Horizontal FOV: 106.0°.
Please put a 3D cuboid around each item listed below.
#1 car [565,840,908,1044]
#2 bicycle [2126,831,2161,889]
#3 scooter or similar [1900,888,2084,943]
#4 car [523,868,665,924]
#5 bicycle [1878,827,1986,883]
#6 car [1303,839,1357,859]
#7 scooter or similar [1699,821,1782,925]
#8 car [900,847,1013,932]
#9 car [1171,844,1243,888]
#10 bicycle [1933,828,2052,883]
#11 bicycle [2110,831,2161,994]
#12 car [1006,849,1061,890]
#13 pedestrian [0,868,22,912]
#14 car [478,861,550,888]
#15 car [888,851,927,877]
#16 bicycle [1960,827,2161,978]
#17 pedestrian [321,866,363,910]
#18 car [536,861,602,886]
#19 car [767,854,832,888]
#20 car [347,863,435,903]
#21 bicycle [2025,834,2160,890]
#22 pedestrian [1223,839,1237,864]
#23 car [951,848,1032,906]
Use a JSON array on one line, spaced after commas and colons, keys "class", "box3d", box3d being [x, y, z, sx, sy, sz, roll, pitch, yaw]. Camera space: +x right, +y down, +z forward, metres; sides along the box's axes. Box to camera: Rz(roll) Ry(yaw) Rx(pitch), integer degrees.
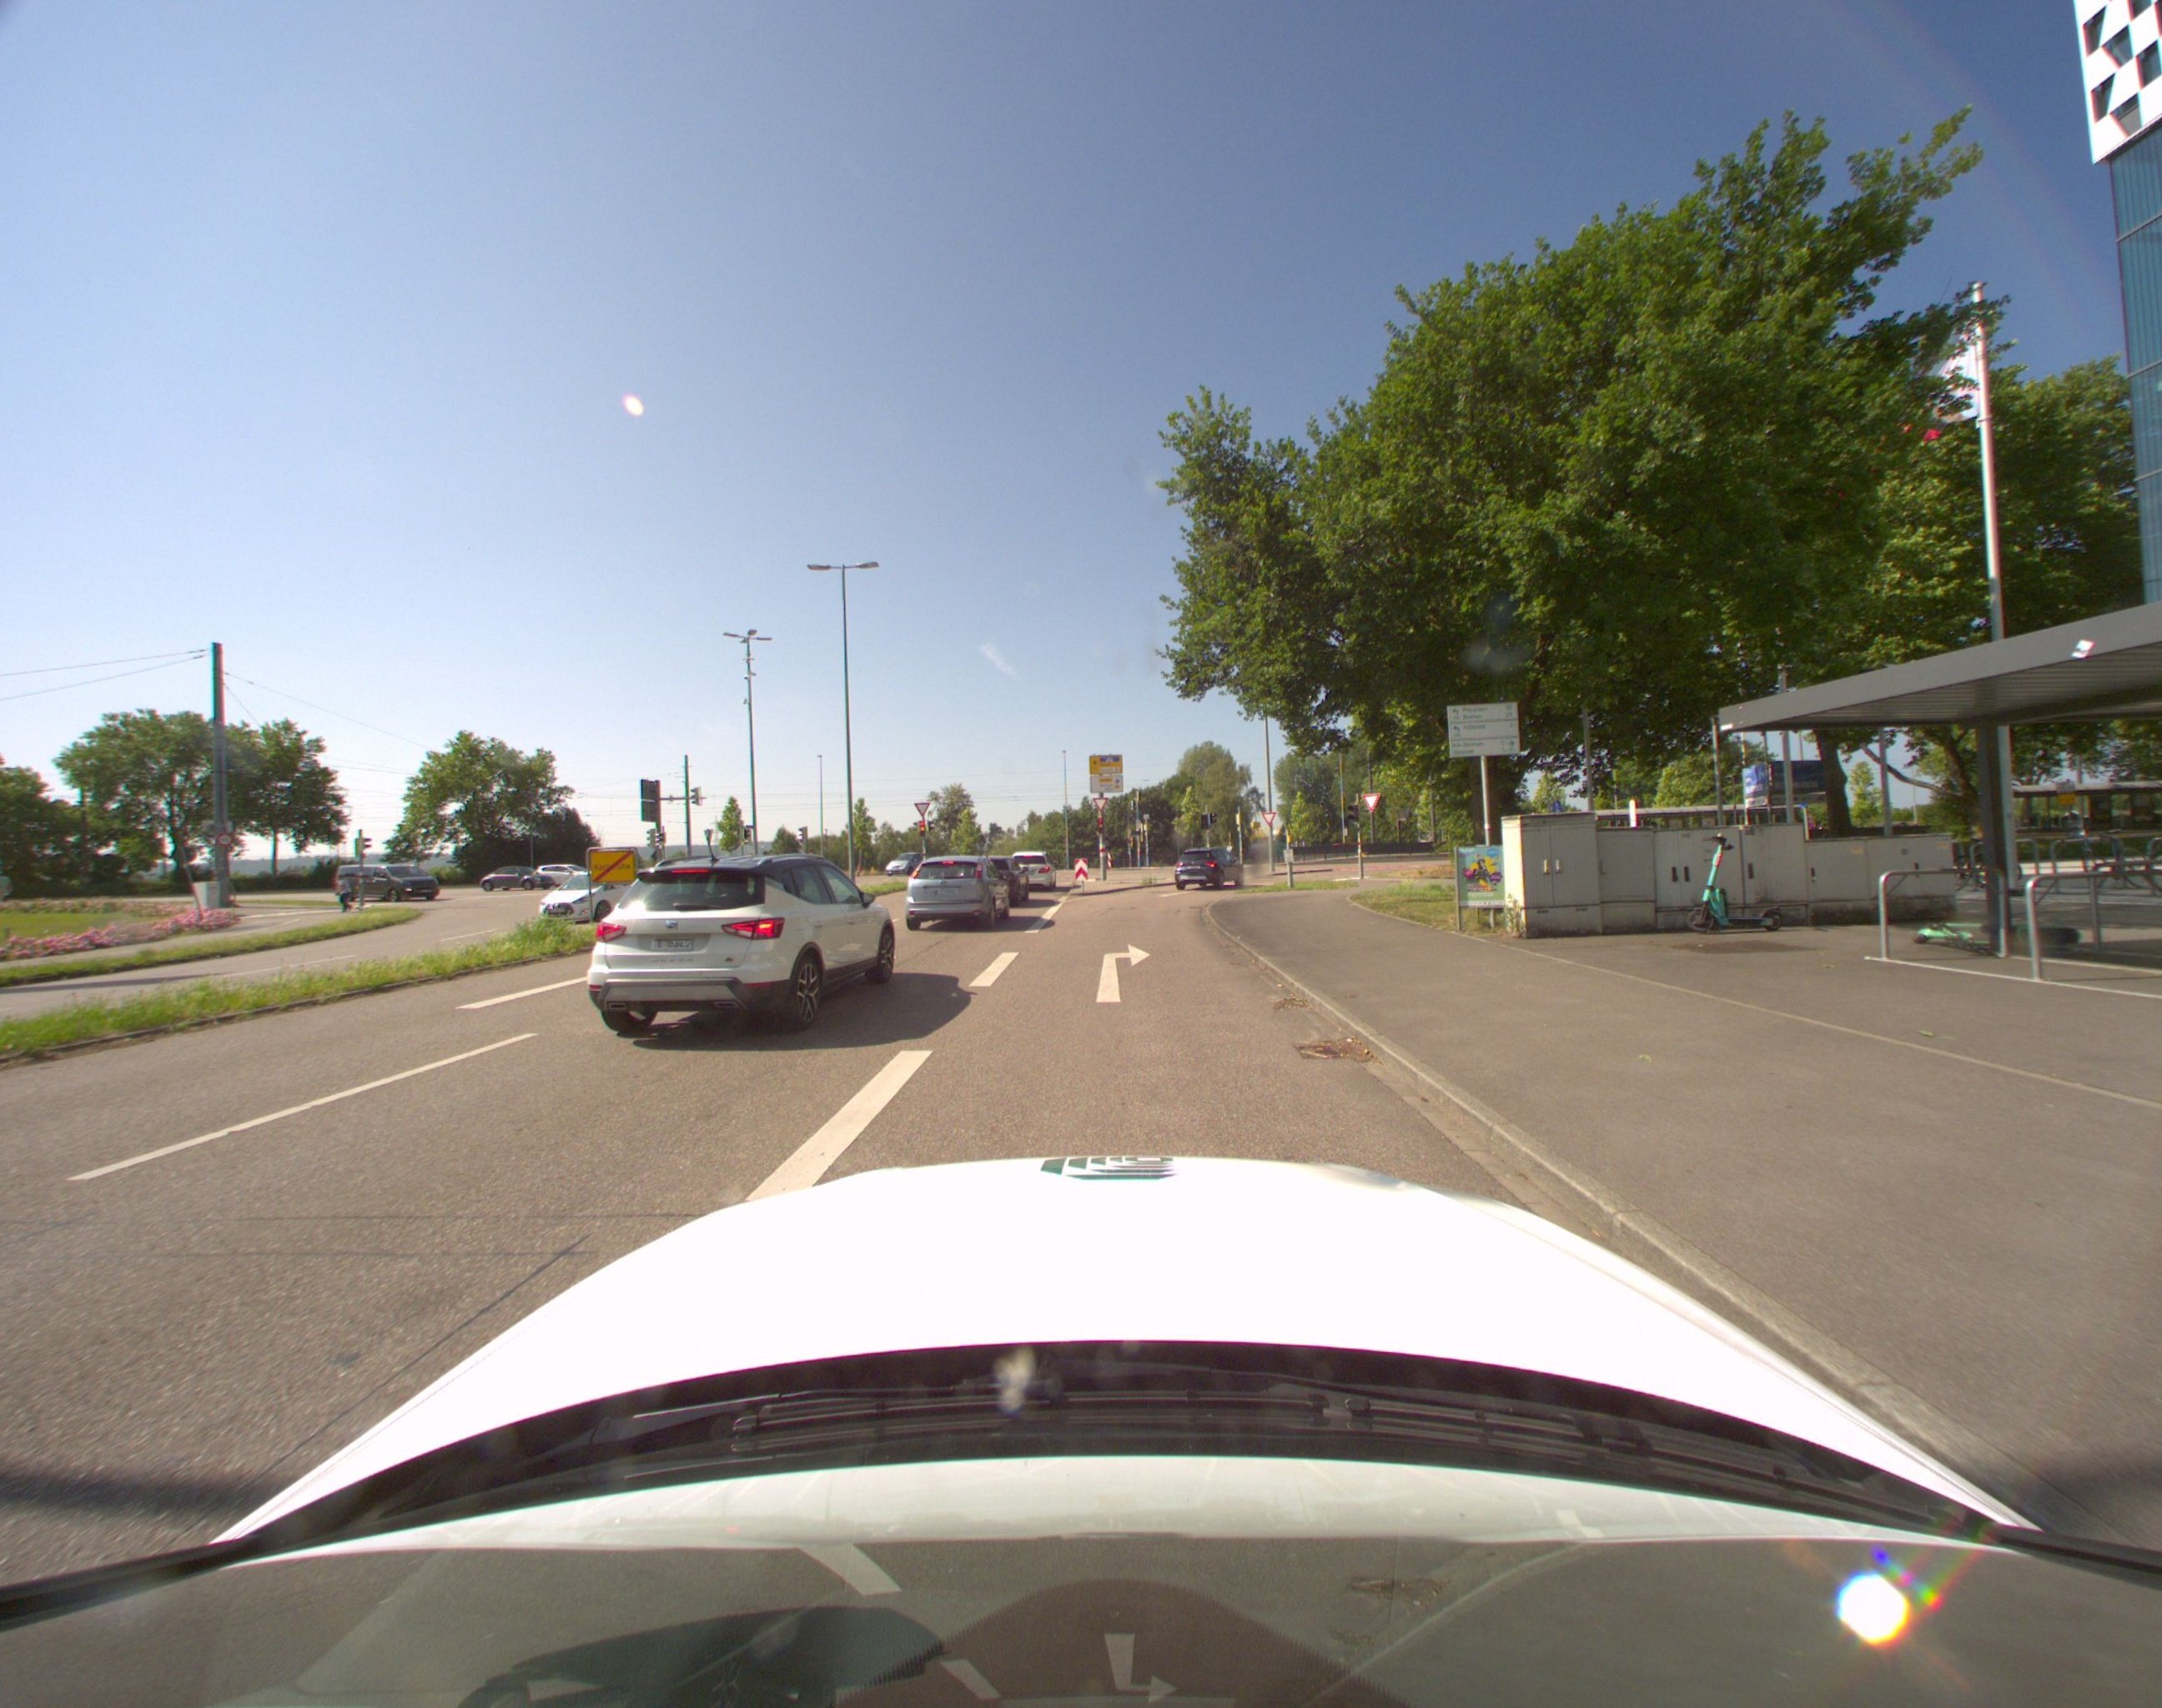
[{"class": "car", "box3d": [-3.114, 0.662, 8.317, 1.624, 1.498, 3.874, -2, 2, 3]}, {"class": "bicycle", "box3d": [16.471, 0.059, 11.957, 1.554, 0.843, 0.434, -2, 0, 4]}, {"class": "scooter or similar", "box3d": [9.302, 0.624, 8.382, 0.908, 0.451, 0.966, -4, -2, 22]}, {"class": "car", "box3d": [-15.298, 1.257, 25.873, 1.785, 1.547, 4.092, -2, 0, 5]}, {"class": "bicycle", "box3d": [16.471, 0.021, 15.780, 1.555, 0.995, 0.434, -2, 0, 3]}, {"class": "car", "box3d": [21.114, -0.429, 69.159, 3.975, 1.445, 1.746, -2, 0, -1]}, {"class": "scooter or similar", "box3d": [8.423, 0.243, 10.412, 0.774, 1.265, 0.283, -3, 0, -1]}, {"class": "car", "box3d": [-2.558, 0.671, 17.716, 1.700, 1.573, 4.174, -2, 0, 1]}, {"class": "car", "box3d": [4.809, 0.425, 30.712, 1.654, 1.523, 3.397, -2, 0, 27]}, {"class": "bicycle", "box3d": [16.420, 0.025, 14.688, 1.555, 0.910, 0.434, -2, 0, 3]}, {"class": "bicycle", "box3d": [8.177, 0.359, 5.520, 1.751, 1.096, 0.452, -3, 0, 1]}, {"class": "car", "box3d": [-1.834, 0.565, 32.483, 1.735, 1.448, 4.391, -2, 0, 2]}, {"class": "pedestrian", "box3d": [-49.448, 1.658, 37.299, 0.712, 1.972, 0.919, -2, -2, 6]}, {"class": "car", "box3d": [-34.741, 1.266, 49.984, 3.375, 1.500, 1.409, -2, -2, -1]}, {"class": "car", "box3d": [-12.095, 0.672, 57.002, 1.621, 1.624, 3.920, -2, 1, 3]}, {"class": "bicycle", "box3d": [8.198, 0.367, 6.520, 1.751, 1.096, 0.452, -3, 0, 1]}, {"class": "pedestrian", "box3d": [-30.359, 1.394, 33.469, 0.834, 1.707, 0.909, -3, 0, 14]}, {"class": "car", "box3d": [-33.384, 1.266, 53.179, 3.335, 1.500, 1.408, -2, -2, -2]}, {"class": "car", "box3d": [-9.337, 0.548, 27.130, 1.112, 1.004, 2.495, -3, 0, 4]}, {"class": "car", "box3d": [-35.481, 1.450, 41.865, 3.951, 1.925, 1.827, -1, 1, 23]}, {"class": "bicycle", "box3d": [16.453, 0.126, 13.266, 1.555, 0.843, 0.434, -2, 0, 3]}, {"class": "pedestrian", "box3d": [9.275, -0.174, 50.597, 0.767, 1.510, 1.011, -3, 1, 13]}, {"class": "car", "box3d": [-2.579, 0.622, 24.457, 1.731, 1.511, 4.202, -3, 0, 2]}]
